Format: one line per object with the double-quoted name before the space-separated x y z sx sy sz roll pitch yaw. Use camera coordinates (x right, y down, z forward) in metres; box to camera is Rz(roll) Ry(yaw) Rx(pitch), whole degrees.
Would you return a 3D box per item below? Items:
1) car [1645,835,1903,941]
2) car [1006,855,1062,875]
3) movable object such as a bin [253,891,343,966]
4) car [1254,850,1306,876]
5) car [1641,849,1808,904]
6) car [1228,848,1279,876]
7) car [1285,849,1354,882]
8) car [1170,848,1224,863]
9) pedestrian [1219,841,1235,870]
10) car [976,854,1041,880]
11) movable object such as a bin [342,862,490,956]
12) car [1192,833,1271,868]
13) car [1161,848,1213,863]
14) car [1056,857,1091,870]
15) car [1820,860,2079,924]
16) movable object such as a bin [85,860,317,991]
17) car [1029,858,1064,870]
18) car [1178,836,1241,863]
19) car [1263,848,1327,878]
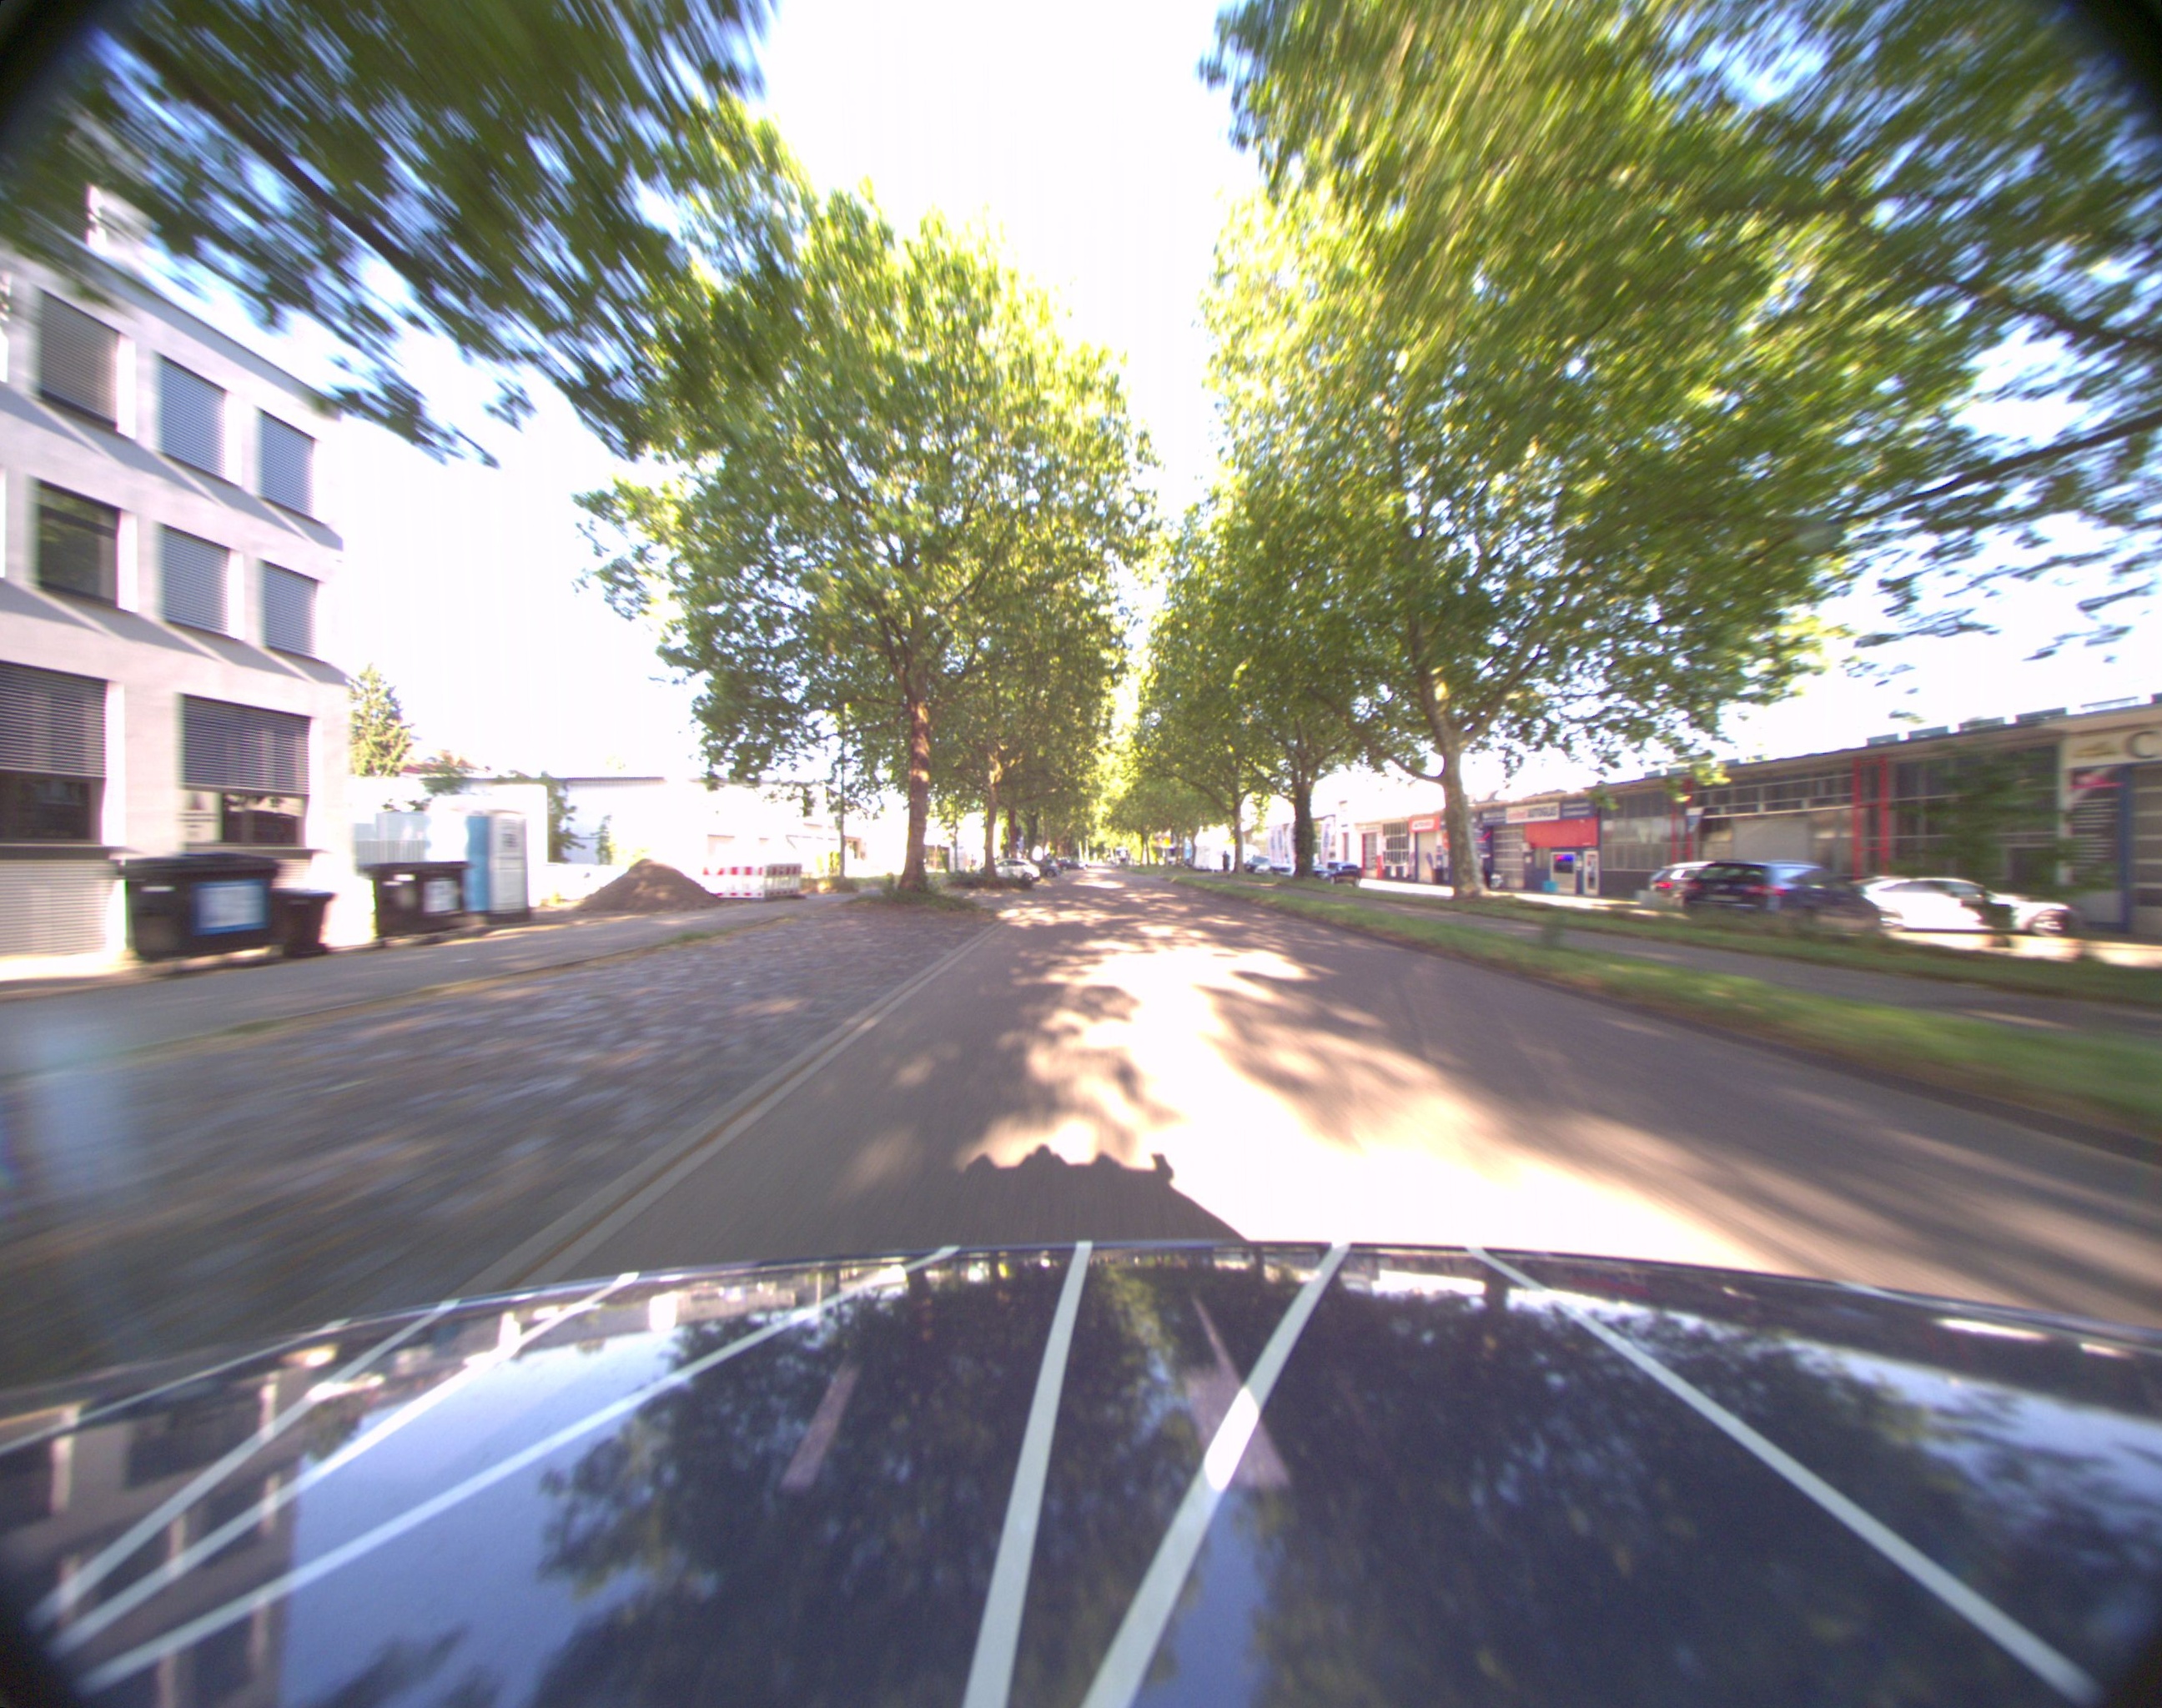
"car" 14.107 0.581 15.447 4.905 1.750 1.996 -3 1 -23
"car" -3.811 0.879 61.539 4.405 1.410 1.999 2 1 -5
"movable object such as a bin" -10.231 0.959 9.948 0.493 0.895 0.599 -2 1 0
"car" 13.759 0.602 52.358 1.994 1.561 4.059 -1 1 38
"car" 21.738 0.758 25.898 3.990 1.696 2.003 -2 1 28
"car" 12.816 0.557 56.299 1.994 1.829 4.256 -1 1 38
"car" 12.996 0.592 41.296 3.850 1.566 1.994 -3 1 -45
"car" 15.114 0.216 99.357 6.428 1.669 2.722 3 -1 -18
"pedestrian" 9.052 0.103 47.215 0.805 1.763 0.940 -2 1 2
"car" -4.539 0.827 48.005 3.944 1.505 1.666 1 1 0
"movable object such as a bin" -10.069 0.790 11.594 0.749 1.256 1.611 -2 1 1
"car" 13.899 -0.294 69.873 6.972 2.835 2.596 3 -1 -28
"car" 14.254 0.239 102.204 6.376 1.669 2.722 3 -1 -18
"car" -0.920 1.228 97.537 4.296 1.410 2.000 2 1 3
"car" 22.346 0.961 19.811 3.990 1.434 2.003 -2 1 28
"movable object such as a bin" -10.233 0.778 8.945 0.749 1.343 1.620 -2 1 1
"car" -4.308 1.240 94.862 4.299 1.410 1.999 2 1 -5
"car" 13.821 -0.450 81.814 6.338 2.482 2.595 3 -1 -29
"car" 13.861 0.558 49.084 4.321 1.741 1.994 -3 1 -43
